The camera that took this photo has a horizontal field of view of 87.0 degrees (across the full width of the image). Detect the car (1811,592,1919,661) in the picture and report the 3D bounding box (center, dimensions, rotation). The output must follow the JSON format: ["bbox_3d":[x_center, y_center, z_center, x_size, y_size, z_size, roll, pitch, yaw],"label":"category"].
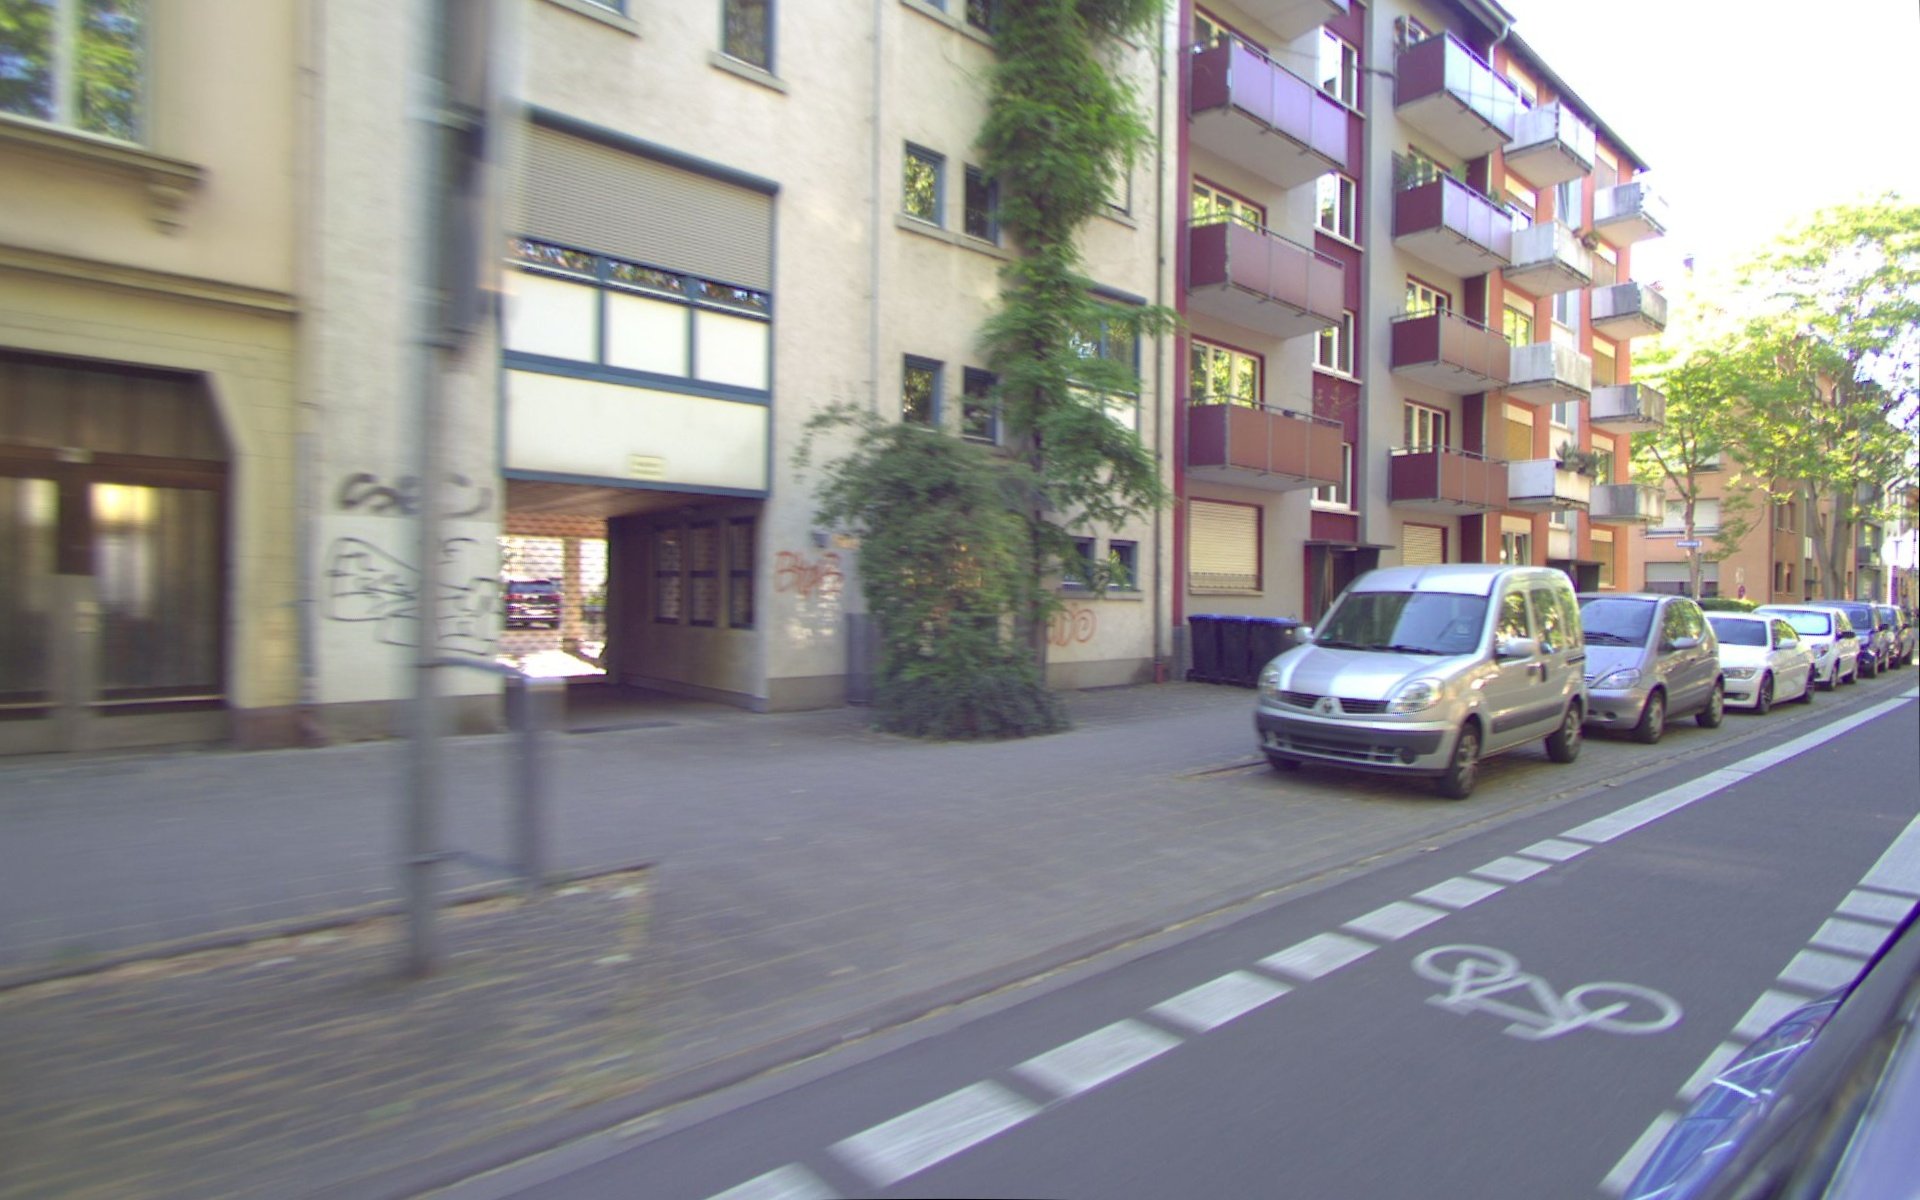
[{"bbox_3d":[22.050,0.583,24.389,3.848,1.480,1.737,0,2,-41],"label":"car"}]

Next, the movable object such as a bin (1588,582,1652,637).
[{"bbox_3d":[16.412,0.228,25.164,0.761,1.344,1.155,0,0,-40],"label":"movable object such as a bin"}]

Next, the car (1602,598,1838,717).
[{"bbox_3d":[11.221,0.730,14.817,4.654,1.416,1.663,0,2,-39],"label":"car"}]

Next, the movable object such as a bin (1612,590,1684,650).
[{"bbox_3d":[16.048,0.441,23.587,1.691,1.344,0.969,0,0,-40],"label":"movable object such as a bin"}]

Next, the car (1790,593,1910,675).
[{"bbox_3d":[19.149,0.659,21.732,3.688,1.610,1.528,-1,0,-42],"label":"car"}]

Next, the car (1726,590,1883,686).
[{"bbox_3d":[15.858,0.628,18.944,3.767,1.545,1.595,-1,3,-40],"label":"car"}]

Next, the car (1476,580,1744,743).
[{"bbox_3d":[7.703,0.606,11.886,3.525,1.600,1.663,0,2,-40],"label":"car"}]

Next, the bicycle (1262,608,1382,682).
[{"bbox_3d":[5.880,0.697,16.550,0.467,1.042,1.901,0,2,-35],"label":"bicycle"}]

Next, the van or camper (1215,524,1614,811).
[{"bbox_3d":[4.095,0.419,8.764,4.140,1.906,1.671,0,2,-43],"label":"van or camper"}]
